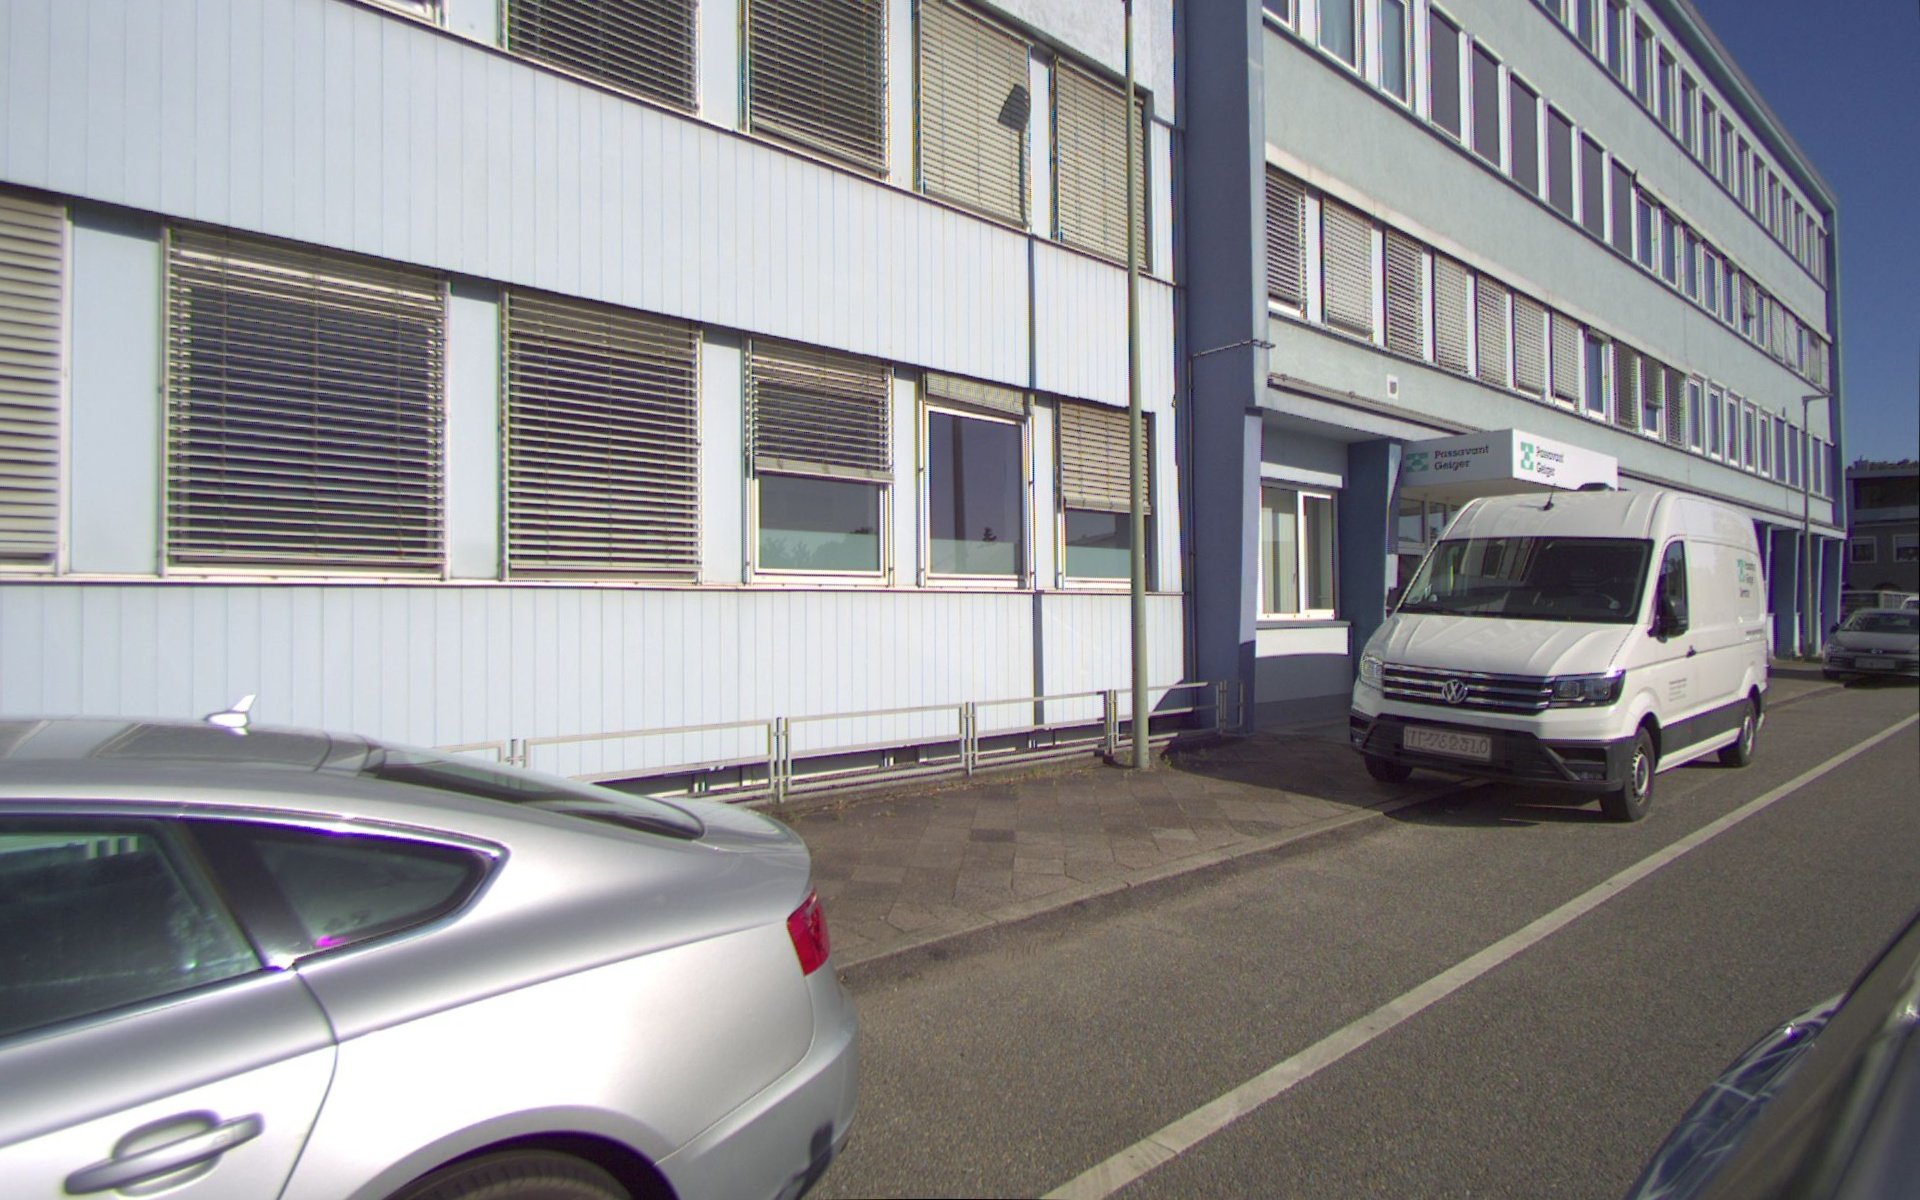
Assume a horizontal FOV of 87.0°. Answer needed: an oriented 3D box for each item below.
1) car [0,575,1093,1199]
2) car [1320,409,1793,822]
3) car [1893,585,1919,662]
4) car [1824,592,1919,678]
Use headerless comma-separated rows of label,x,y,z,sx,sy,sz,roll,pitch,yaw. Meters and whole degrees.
car,-2.226,0.754,1.455,5.035,1.423,1.897,-2,-2,-41
car,5.704,0.099,9.187,5.946,2.631,1.996,0,0,-42
car,25.436,0.517,25.660,4.999,1.855,1.893,-1,-1,-39
car,19.550,0.640,20.894,5.003,1.580,1.891,-1,-1,-42
